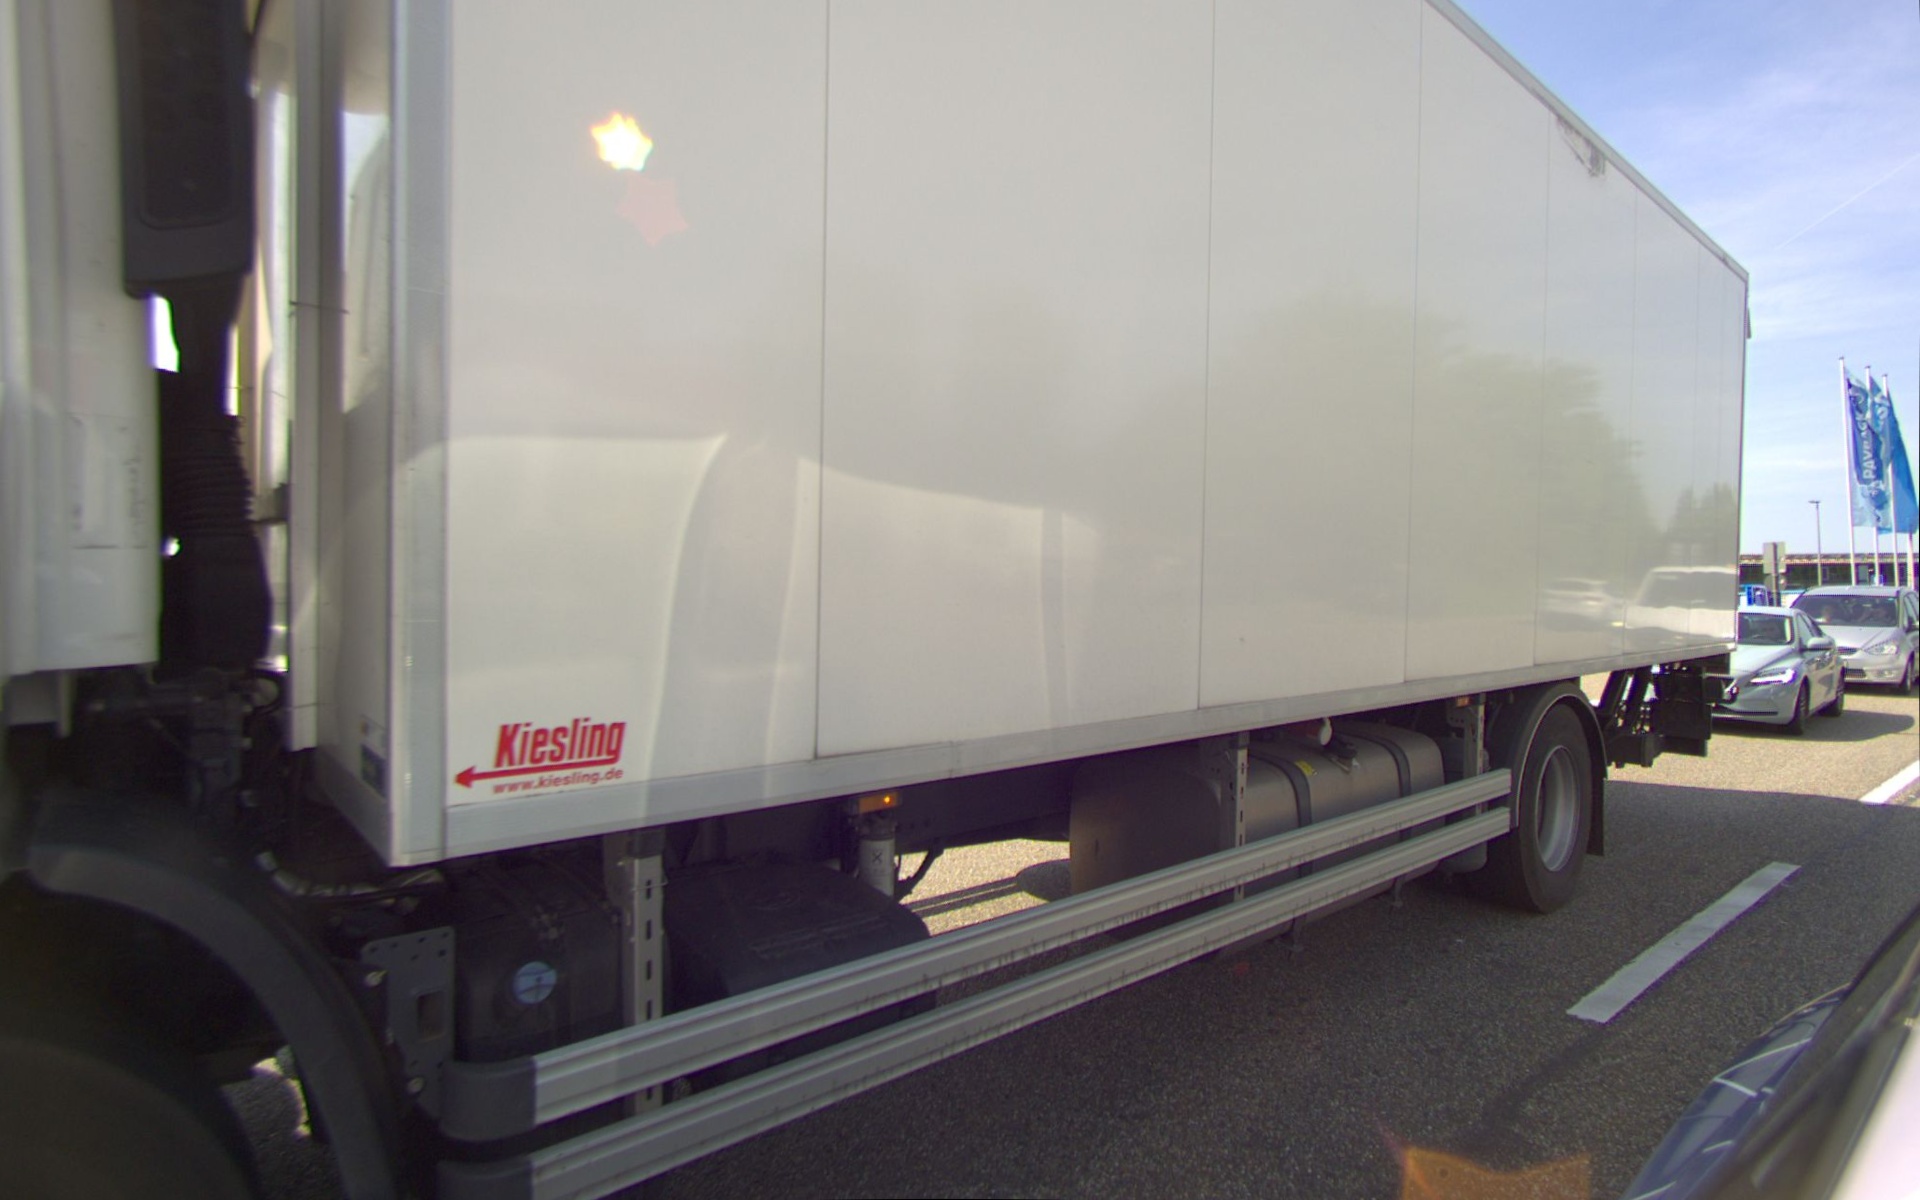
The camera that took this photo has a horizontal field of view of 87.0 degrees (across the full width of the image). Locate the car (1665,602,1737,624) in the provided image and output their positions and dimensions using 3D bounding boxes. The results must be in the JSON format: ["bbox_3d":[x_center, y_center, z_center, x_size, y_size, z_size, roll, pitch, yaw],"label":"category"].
[{"bbox_3d":[52.100,0.884,71.220,1.785,1.477,4.051,1,-1,-8],"label":"car"}]

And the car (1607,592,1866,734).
[{"bbox_3d":[9.552,0.644,12.329,4.152,1.447,1.737,0,-1,-42],"label":"car"}]

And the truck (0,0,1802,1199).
[{"bbox_3d":[0.688,-0.473,4.429,10.947,3.859,2.884,0,0,-41],"label":"truck"}]

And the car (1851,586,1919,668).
[{"bbox_3d":[20.222,0.521,21.117,3.646,1.592,1.805,0,1,-38],"label":"car"}]

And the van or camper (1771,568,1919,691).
[{"bbox_3d":[15.521,0.437,17.237,5.043,1.810,1.749,0,-1,-41],"label":"van or camper"}]
